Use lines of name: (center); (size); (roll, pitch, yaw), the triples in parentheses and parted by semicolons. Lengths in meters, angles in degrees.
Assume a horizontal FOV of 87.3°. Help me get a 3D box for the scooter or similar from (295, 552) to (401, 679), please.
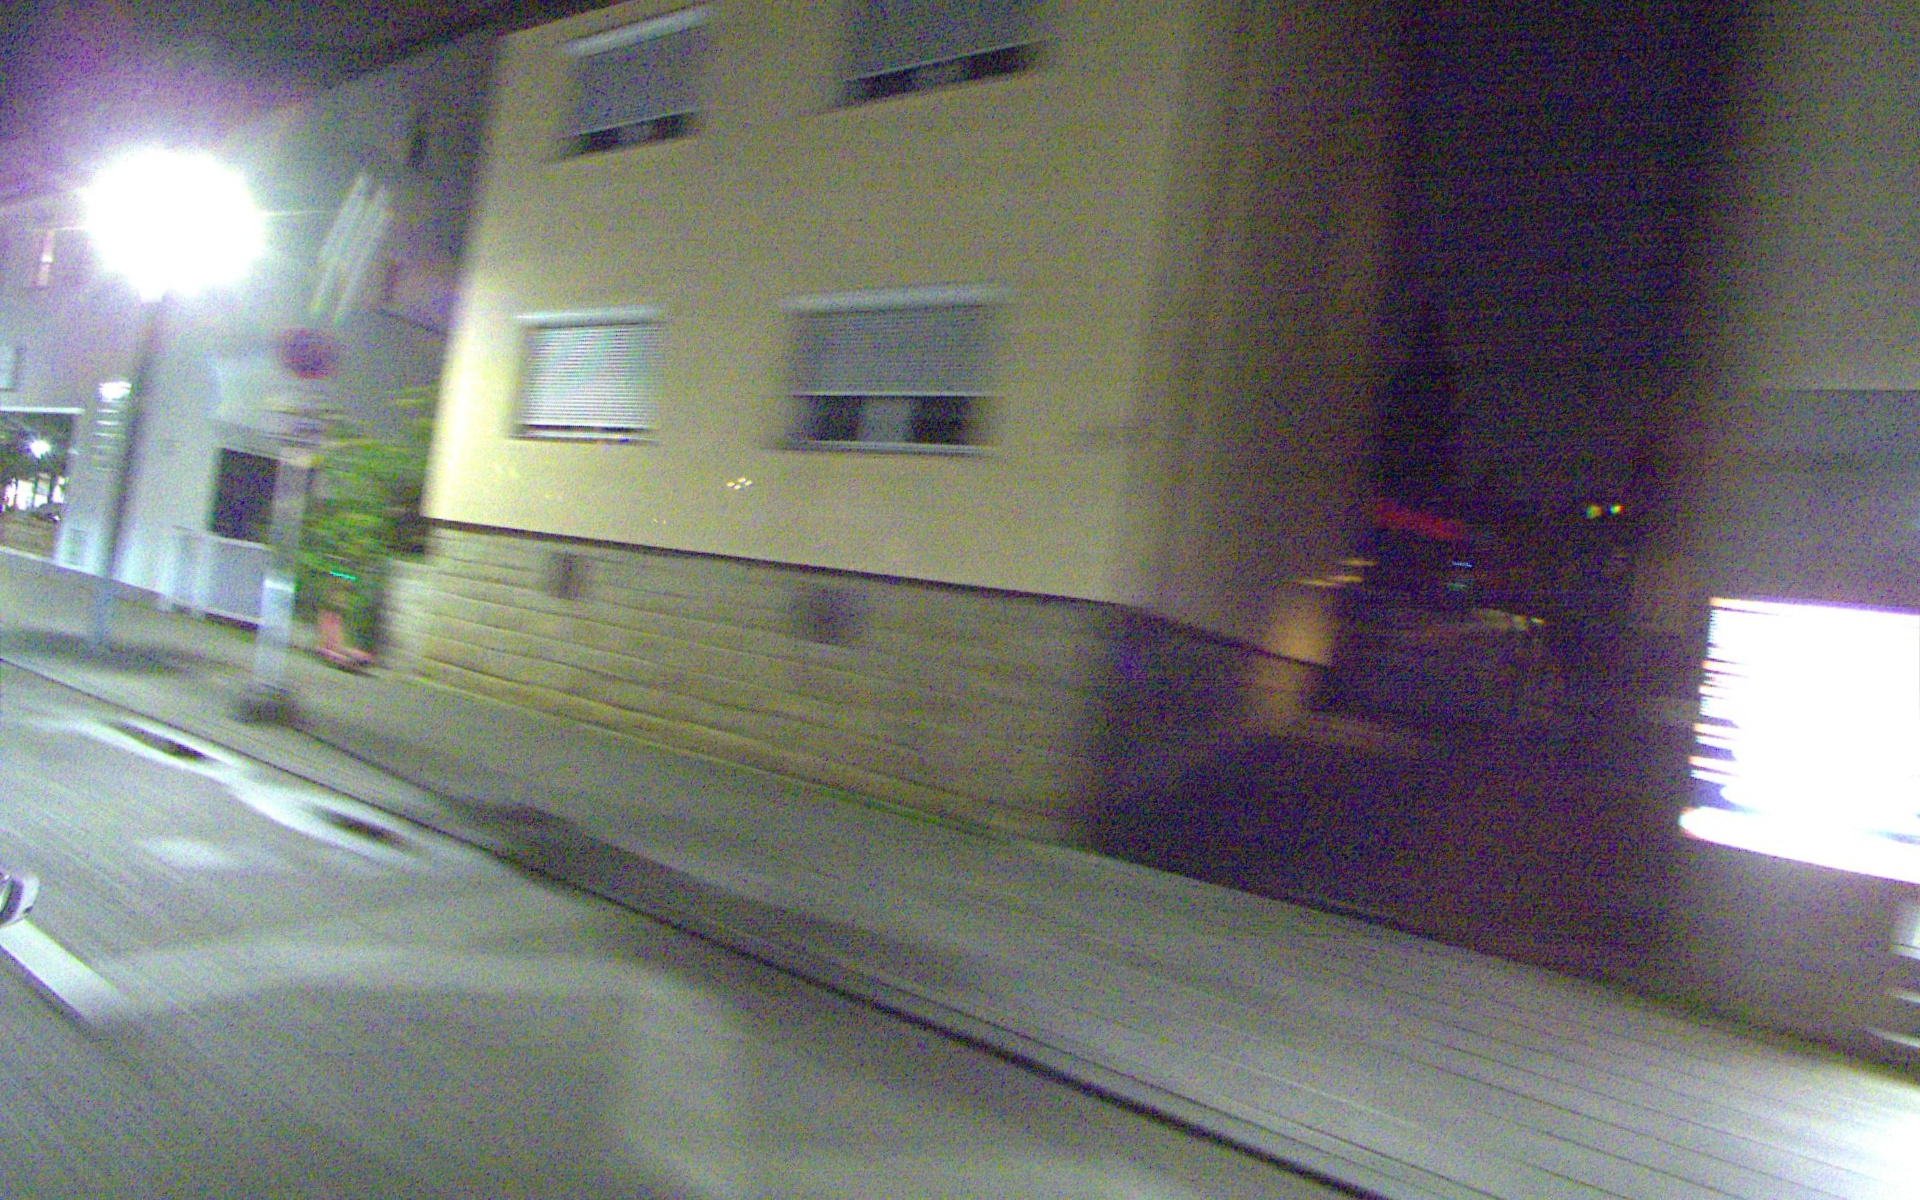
scooter or similar: (-6.932, 0.163, 11.377); (1.284, 1.292, 0.373); (6, -1, 33)

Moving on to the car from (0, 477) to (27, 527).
car: (-31.768, -3.259, 32.121); (3.989, 1.480, 1.805); (6, 2, 31)
